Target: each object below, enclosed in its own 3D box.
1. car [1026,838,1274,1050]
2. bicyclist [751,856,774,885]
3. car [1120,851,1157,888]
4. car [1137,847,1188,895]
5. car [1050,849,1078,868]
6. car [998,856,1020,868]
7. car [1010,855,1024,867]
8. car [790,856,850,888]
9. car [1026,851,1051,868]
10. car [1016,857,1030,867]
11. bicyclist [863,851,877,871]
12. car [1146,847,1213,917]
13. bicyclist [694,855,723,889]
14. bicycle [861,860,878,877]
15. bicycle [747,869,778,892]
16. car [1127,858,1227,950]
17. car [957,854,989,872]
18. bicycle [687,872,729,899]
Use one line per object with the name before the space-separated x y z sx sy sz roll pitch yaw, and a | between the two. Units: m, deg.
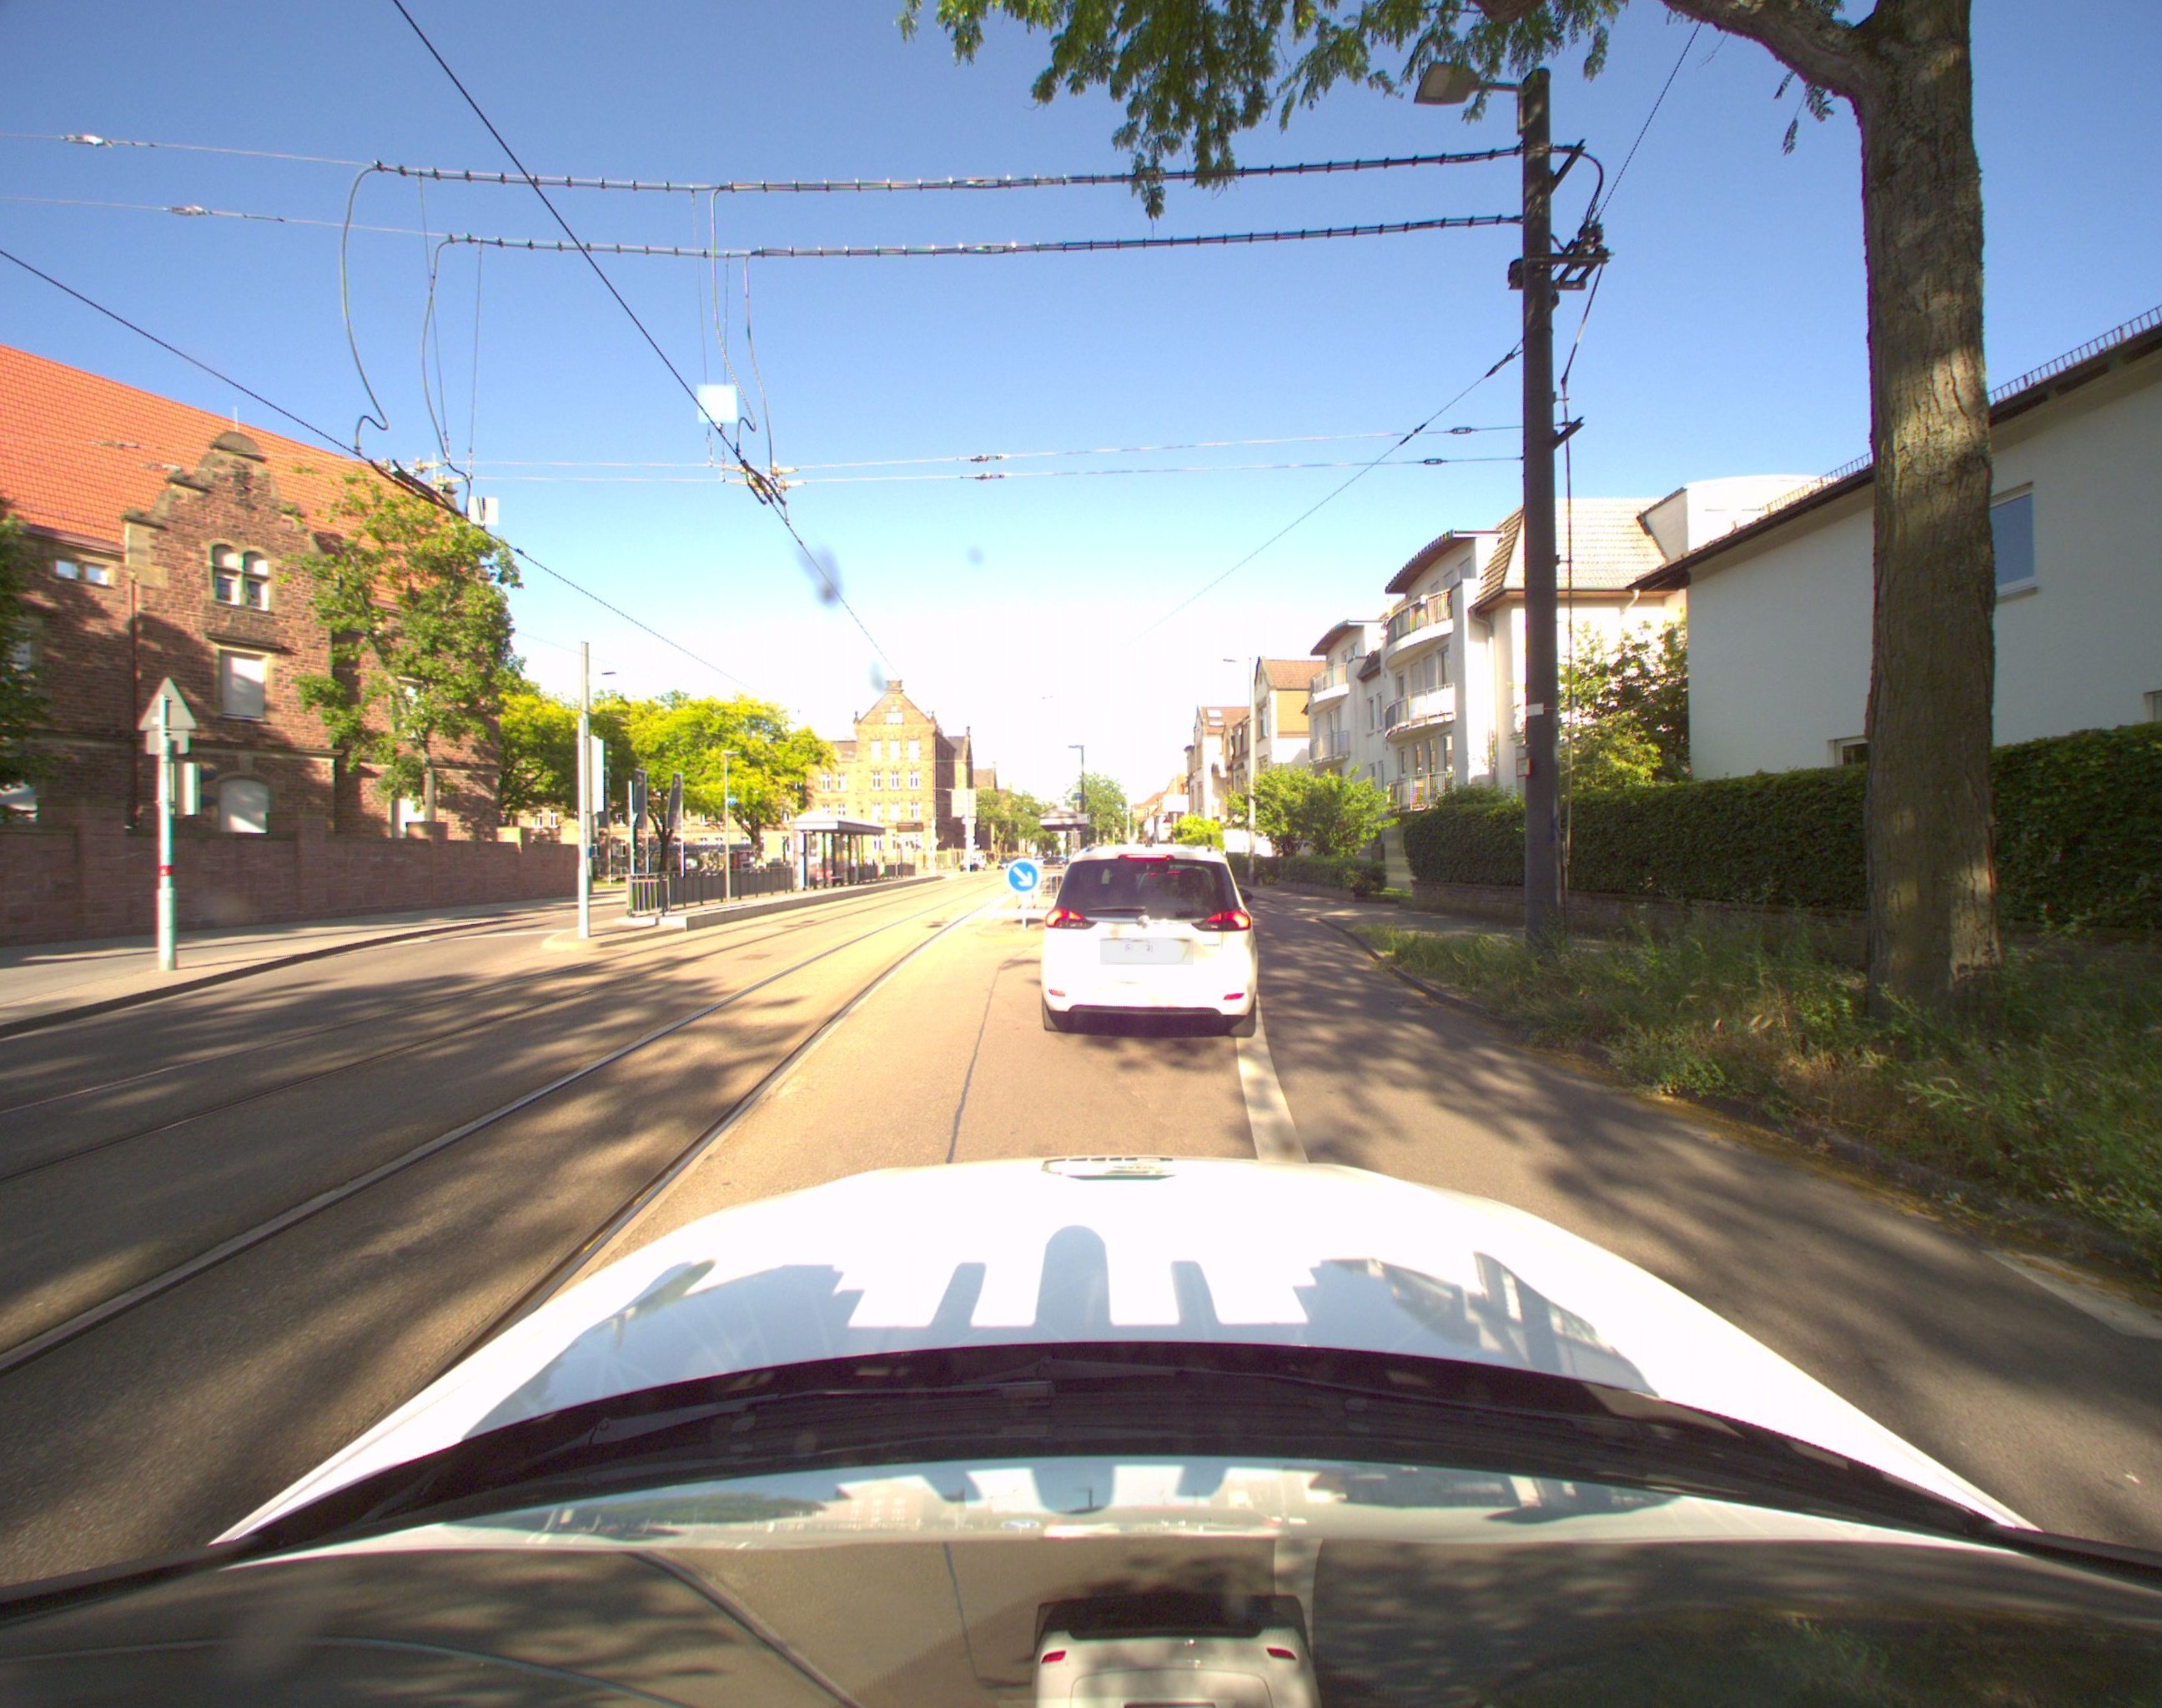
car | 0.768 0.678 8.193 1.868 1.585 4.008 -1 0 7
bicyclist | -16.338 0.829 41.762 0.650 1.459 1.153 -1 0 5
car | 2.750 0.726 39.397 1.590 1.635 3.903 1 0 2
car | 2.938 0.582 29.912 1.590 1.635 3.903 1 0 2
car | -1.896 0.542 89.481 1.999 2.013 3.976 -1 0 -18
car | -8.719 0.982 98.356 1.789 1.382 4.503 -1 0 6
car | -8.719 0.998 111.599 1.823 1.617 4.321 -1 -1 -4
car | -14.093 0.919 44.186 1.812 1.607 4.358 -1 0 0
car | -5.084 0.633 97.340 1.999 2.013 3.976 -1 0 -18
car | -8.575 1.154 120.477 1.822 1.446 4.324 -1 -1 -2
bicyclist | -16.029 0.538 61.834 0.758 1.536 1.347 -1 0 -2
car | 2.562 0.648 21.104 1.560 1.614 3.792 1 0 7
bicyclist | -16.256 0.766 35.554 0.649 1.459 1.154 -1 0 6
bicycle | -16.009 1.059 61.801 0.775 1.231 2.087 -1 0 -2
bicycle | -16.318 1.390 41.776 0.681 1.089 1.856 -4 -3 4
car | 1.774 0.808 14.866 1.560 1.401 3.792 1 0 7
car | -11.202 0.911 84.489 1.814 1.788 4.270 -1 0 13
bicycle | -16.241 1.374 35.552 0.681 1.089 2.067 -1 0 6
